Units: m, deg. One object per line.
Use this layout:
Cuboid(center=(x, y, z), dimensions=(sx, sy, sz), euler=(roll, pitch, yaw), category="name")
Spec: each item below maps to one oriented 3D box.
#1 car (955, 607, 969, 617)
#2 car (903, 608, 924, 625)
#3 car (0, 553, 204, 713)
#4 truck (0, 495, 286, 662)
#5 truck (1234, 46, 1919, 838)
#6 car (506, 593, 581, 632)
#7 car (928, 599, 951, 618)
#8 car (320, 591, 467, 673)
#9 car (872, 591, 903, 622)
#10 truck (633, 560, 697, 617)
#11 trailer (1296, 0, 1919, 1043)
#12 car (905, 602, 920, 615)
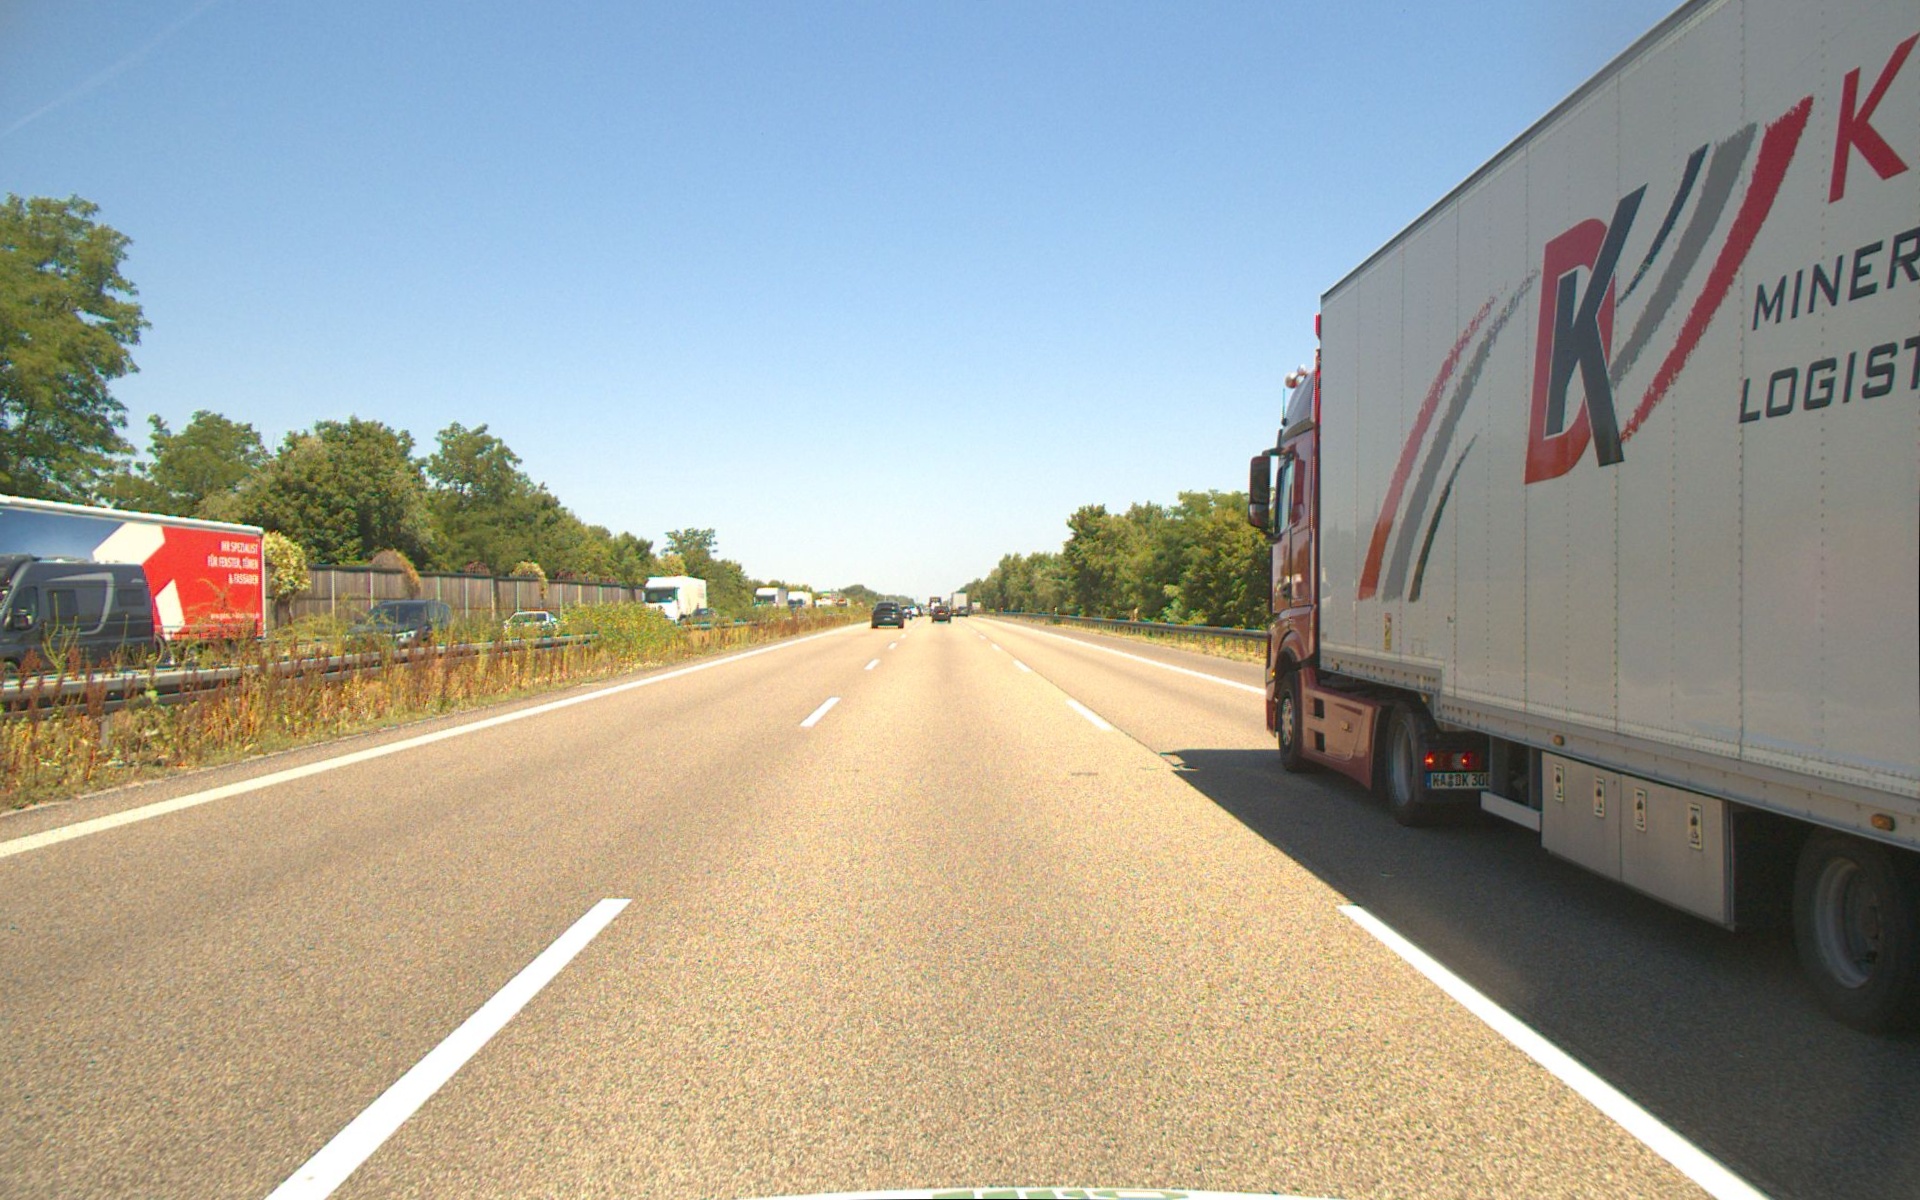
Cuboid(center=(0.337, 1.869, 257.118), dimensions=(2.085, 1.611, 4.303), euler=(-1, 0, -1), category="car")
Cuboid(center=(-4.923, 1.733, 174.025), dimensions=(2.085, 1.674, 4.303), euler=(-1, 0, -1), category="car")
Cuboid(center=(-17.005, 0.494, 30.791), dimensions=(2.269, 2.607, 7.583), euler=(4, 0, 0), category="car")
Cuboid(center=(-20.928, -0.499, 39.547), dimensions=(2.780, 3.400, 17.003), euler=(0, 1, 0), category="truck")
Cuboid(center=(4.502, -1.026, 13.930), dimensions=(3.168, 4.974, 6.971), euler=(0, 0, 0), category="truck")
Cuboid(center=(-15.727, 0.454, 62.707), dimensions=(1.741, 1.437, 4.498), euler=(0, 0, -1), category="car")
Cuboid(center=(-1.724, 0.734, 140.883), dimensions=(1.864, 1.611, 4.303), euler=(-1, 0, 0), category="car")
Cuboid(center=(-13.147, 0.699, 38.707), dimensions=(1.741, 1.780, 5.079), euler=(0, 0, -1), category="car")
Cuboid(center=(-4.488, 0.376, 102.531), dimensions=(1.842, 1.823, 3.999), euler=(0, 1, -2), category="car")
Cuboid(center=(-22.664, -0.875, 127.467), dimensions=(3.509, 4.175, 7.837), euler=(-1, 0, -1), category="truck")
Cuboid(center=(4.542, -1.116, 7.205), dimensions=(3.202, 4.922, 14.028), euler=(0, 1, 0), category="trailer")
Cuboid(center=(-6.592, 1.181, 231.079), dimensions=(2.086, 1.674, 4.302), euler=(-1, 0, -2), category="car")
